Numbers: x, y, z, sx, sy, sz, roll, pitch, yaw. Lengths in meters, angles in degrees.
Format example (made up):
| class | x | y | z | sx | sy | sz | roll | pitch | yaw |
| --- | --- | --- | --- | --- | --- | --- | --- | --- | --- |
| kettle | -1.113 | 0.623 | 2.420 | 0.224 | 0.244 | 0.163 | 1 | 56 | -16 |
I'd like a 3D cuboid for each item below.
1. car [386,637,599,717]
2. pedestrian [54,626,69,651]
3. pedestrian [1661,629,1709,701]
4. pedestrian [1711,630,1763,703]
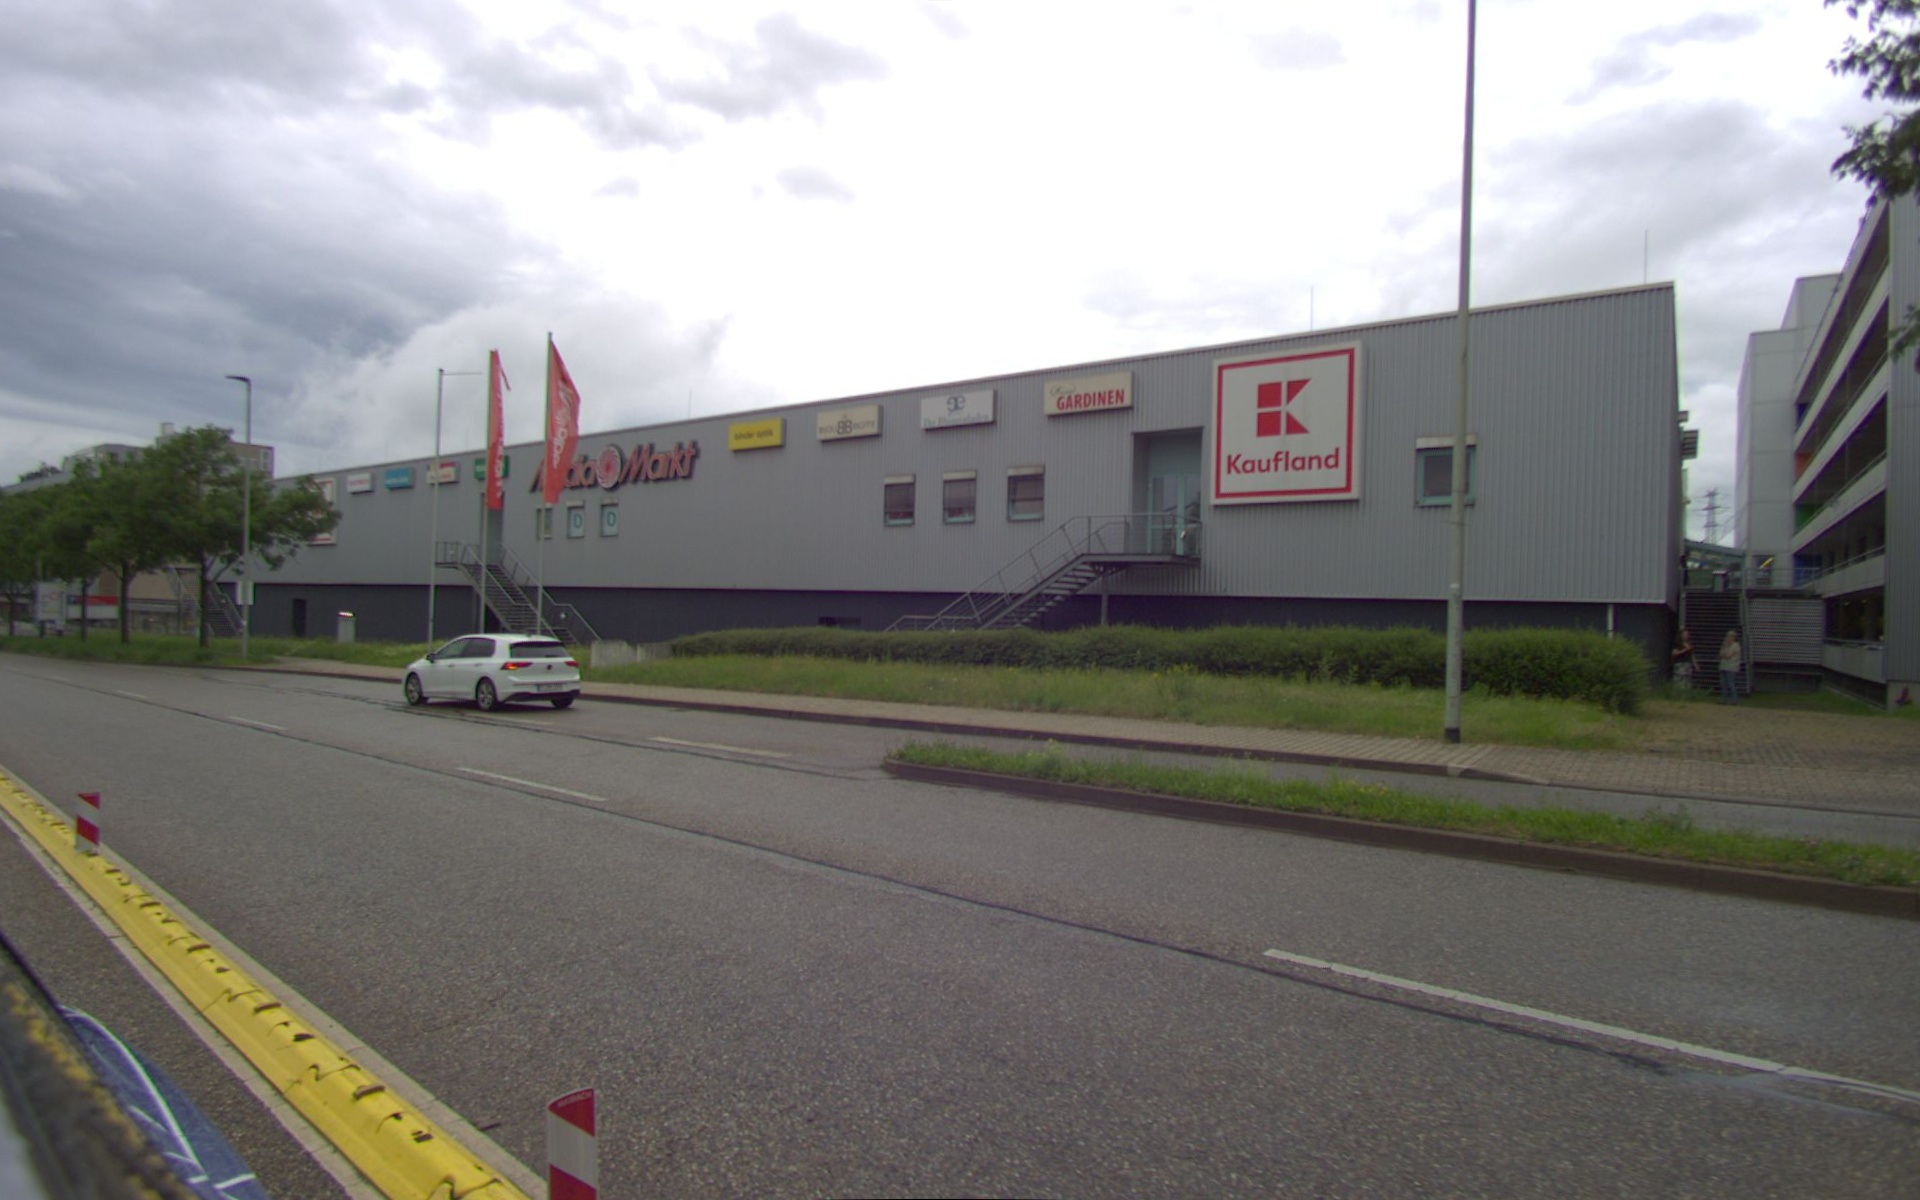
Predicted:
| class | x | y | z | sx | sy | sz | roll | pitch | yaw |
| --- | --- | --- | --- | --- | --- | --- | --- | --- | --- |
| car | -9.319 | 1.453 | 20.048 | 4.414 | 1.419 | 1.883 | -2 | -3 | 35 |
| pedestrian | -60.042 | 2.571 | 67.623 | 0.766 | 1.595 | 0.579 | -1 | 0 | 38 |
| pedestrian | 16.617 | 1.473 | 23.208 | 0.859 | 1.587 | 0.445 | -1 | 0 | 33 |
| pedestrian | 17.334 | 1.467 | 22.588 | 0.859 | 1.587 | 0.445 | -1 | 0 | 33 |
